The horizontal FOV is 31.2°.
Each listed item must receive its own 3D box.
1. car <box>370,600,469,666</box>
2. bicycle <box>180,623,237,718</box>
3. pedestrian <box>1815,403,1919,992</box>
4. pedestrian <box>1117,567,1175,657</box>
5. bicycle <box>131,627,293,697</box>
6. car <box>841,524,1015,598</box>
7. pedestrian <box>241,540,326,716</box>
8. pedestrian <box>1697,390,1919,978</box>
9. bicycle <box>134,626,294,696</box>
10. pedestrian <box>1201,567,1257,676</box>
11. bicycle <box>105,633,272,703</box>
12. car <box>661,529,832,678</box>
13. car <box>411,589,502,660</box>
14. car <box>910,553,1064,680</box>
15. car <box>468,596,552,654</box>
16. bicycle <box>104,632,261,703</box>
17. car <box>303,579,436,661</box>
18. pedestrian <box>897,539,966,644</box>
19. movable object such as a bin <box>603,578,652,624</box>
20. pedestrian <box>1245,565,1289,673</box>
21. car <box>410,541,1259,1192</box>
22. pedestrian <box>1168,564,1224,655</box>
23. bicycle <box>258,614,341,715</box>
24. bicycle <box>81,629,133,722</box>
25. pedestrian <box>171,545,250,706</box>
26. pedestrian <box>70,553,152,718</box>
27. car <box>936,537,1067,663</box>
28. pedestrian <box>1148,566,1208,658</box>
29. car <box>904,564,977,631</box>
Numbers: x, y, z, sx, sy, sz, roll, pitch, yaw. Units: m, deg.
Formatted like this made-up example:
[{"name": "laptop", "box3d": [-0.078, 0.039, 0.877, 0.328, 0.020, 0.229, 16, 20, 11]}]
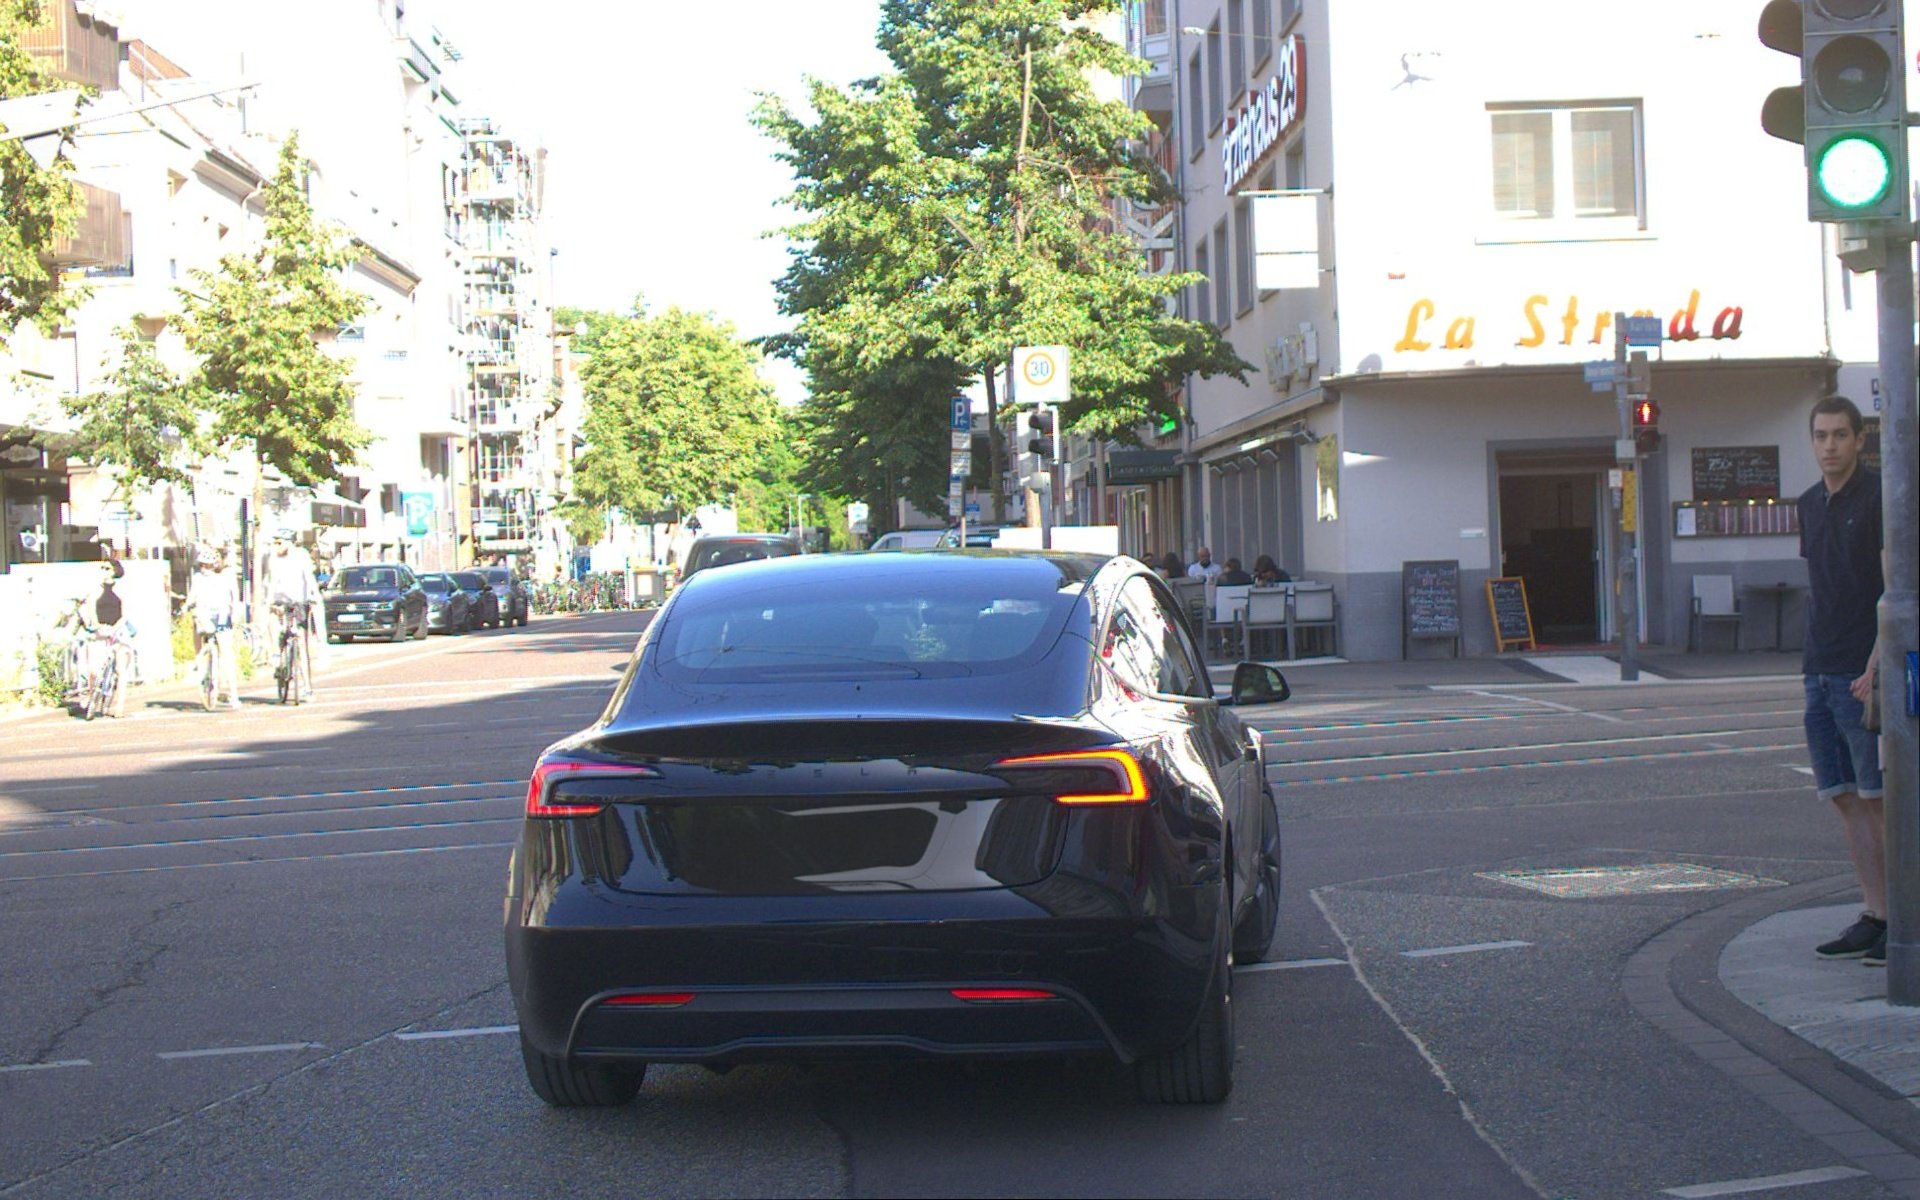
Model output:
[{"name": "car", "box3d": [-12.257, 0.740, 78.196, 1.786, 1.398, 3.906, -1, 0, -3]}, {"name": "bicycle", "box3d": [-8.125, 0.748, 37.141, 0.552, 0.965, 1.795, -2, 0, -13]}, {"name": "pedestrian", "box3d": [3.015, 0.283, 10.573, 0.572, 1.753, 0.649, -1, 0, -1]}, {"name": "pedestrian", "box3d": [2.834, 0.176, 52.517, 0.709, 1.343, 1.060, -2, 0, -4]}, {"name": "bicycle", "box3d": [-11.495, 0.950, 52.884, 2.388, 0.974, 0.656, -2, 0, -11]}, {"name": "car", "box3d": [-1.038, -1.247, 109.279, 5.391, 2.138, 2.000, -2, 0, -2]}, {"name": "pedestrian", "box3d": [-7.362, 0.297, 37.405, 0.778, 1.860, 1.002, -2, 1, -15]}, {"name": "pedestrian", "box3d": [2.821, 0.259, 11.163, 0.640, 1.836, 0.681, -2, 0, -1]}, {"name": "bicycle", "box3d": [-11.649, 0.947, 53.717, 2.396, 1.002, 0.656, -2, 0, -12]}, {"name": "pedestrian", "box3d": [3.275, 0.259, 41.914, 0.586, 1.308, 0.560, -2, 0, -1]}, {"name": "bicycle", "box3d": [-11.568, 1.019, 51.551, 2.396, 0.955, 0.545, -2, 0, -13]}, {"name": "car", "box3d": [-2.613, 0.025, 43.007, 1.904, 1.727, 4.288, -1, 0, -1]}, {"name": "car", "box3d": [-12.190, 0.579, 83.428, 1.718, 1.604, 3.597, -2, 0, -2]}, {"name": "car", "box3d": [0.326, 0.204, 47.562, 2.001, 1.631, 4.288, -1, 0, -1]}, {"name": "car", "box3d": [-11.534, 0.617, 88.287, 1.786, 1.398, 3.906, -1, 0, -3]}, {"name": "bicycle", "box3d": [-11.493, 0.988, 50.834, 2.219, 0.955, 0.656, -2, 0, -13]}, {"name": "car", "box3d": [-12.091, 0.387, 70.616, 1.993, 1.592, 4.000, -1, 0, 1]}, {"name": "pedestrian", "box3d": [-0.529, -0.163, 64.020, 0.958, 1.909, 1.104, -2, 0, 15]}, {"name": "movable object such as a bin", "box3d": [-10.543, 0.032, 108.891, 1.308, 1.403, 1.071, -2, 0, -18]}, {"name": "pedestrian", "box3d": [3.814, 0.236, 42.699, 0.488, 1.317, 0.653, -2, 0, 6]}, {"name": "car", "box3d": [-0.106, 0.577, 9.976, 1.870, 1.422, 4.364, -2, 1, 5]}, {"name": "pedestrian", "box3d": [3.614, 0.146, 52.684, 0.730, 1.356, 0.959, -2, 0, -1]}, {"name": "bicycle", "box3d": [-7.203, 0.686, 37.422, 0.758, 1.004, 1.726, -5, 1, -12]}, {"name": "bicycle", "box3d": [-9.087, 0.793, 36.609, 0.480, 0.952, 1.456, -2, 0, -15]}, {"name": "pedestrian", "box3d": [-8.167, 0.275, 37.450, 0.778, 1.722, 0.559, -1, 0, -15]}, {"name": "pedestrian", "box3d": [-8.961, 0.366, 36.280, 0.790, 1.706, 0.654, -1, 0, -16]}, {"name": "car", "box3d": [0.610, -0.015, 53.992, 1.904, 1.846, 4.288, -1, 0, -1]}, {"name": "pedestrian", "box3d": [3.257, 0.174, 51.412, 0.730, 1.343, 1.060, -2, 0, -3]}, {"name": "car", "box3d": [-0.547, -0.089, 97.575, 1.993, 1.818, 4.000, -1, 0, 0]}]
